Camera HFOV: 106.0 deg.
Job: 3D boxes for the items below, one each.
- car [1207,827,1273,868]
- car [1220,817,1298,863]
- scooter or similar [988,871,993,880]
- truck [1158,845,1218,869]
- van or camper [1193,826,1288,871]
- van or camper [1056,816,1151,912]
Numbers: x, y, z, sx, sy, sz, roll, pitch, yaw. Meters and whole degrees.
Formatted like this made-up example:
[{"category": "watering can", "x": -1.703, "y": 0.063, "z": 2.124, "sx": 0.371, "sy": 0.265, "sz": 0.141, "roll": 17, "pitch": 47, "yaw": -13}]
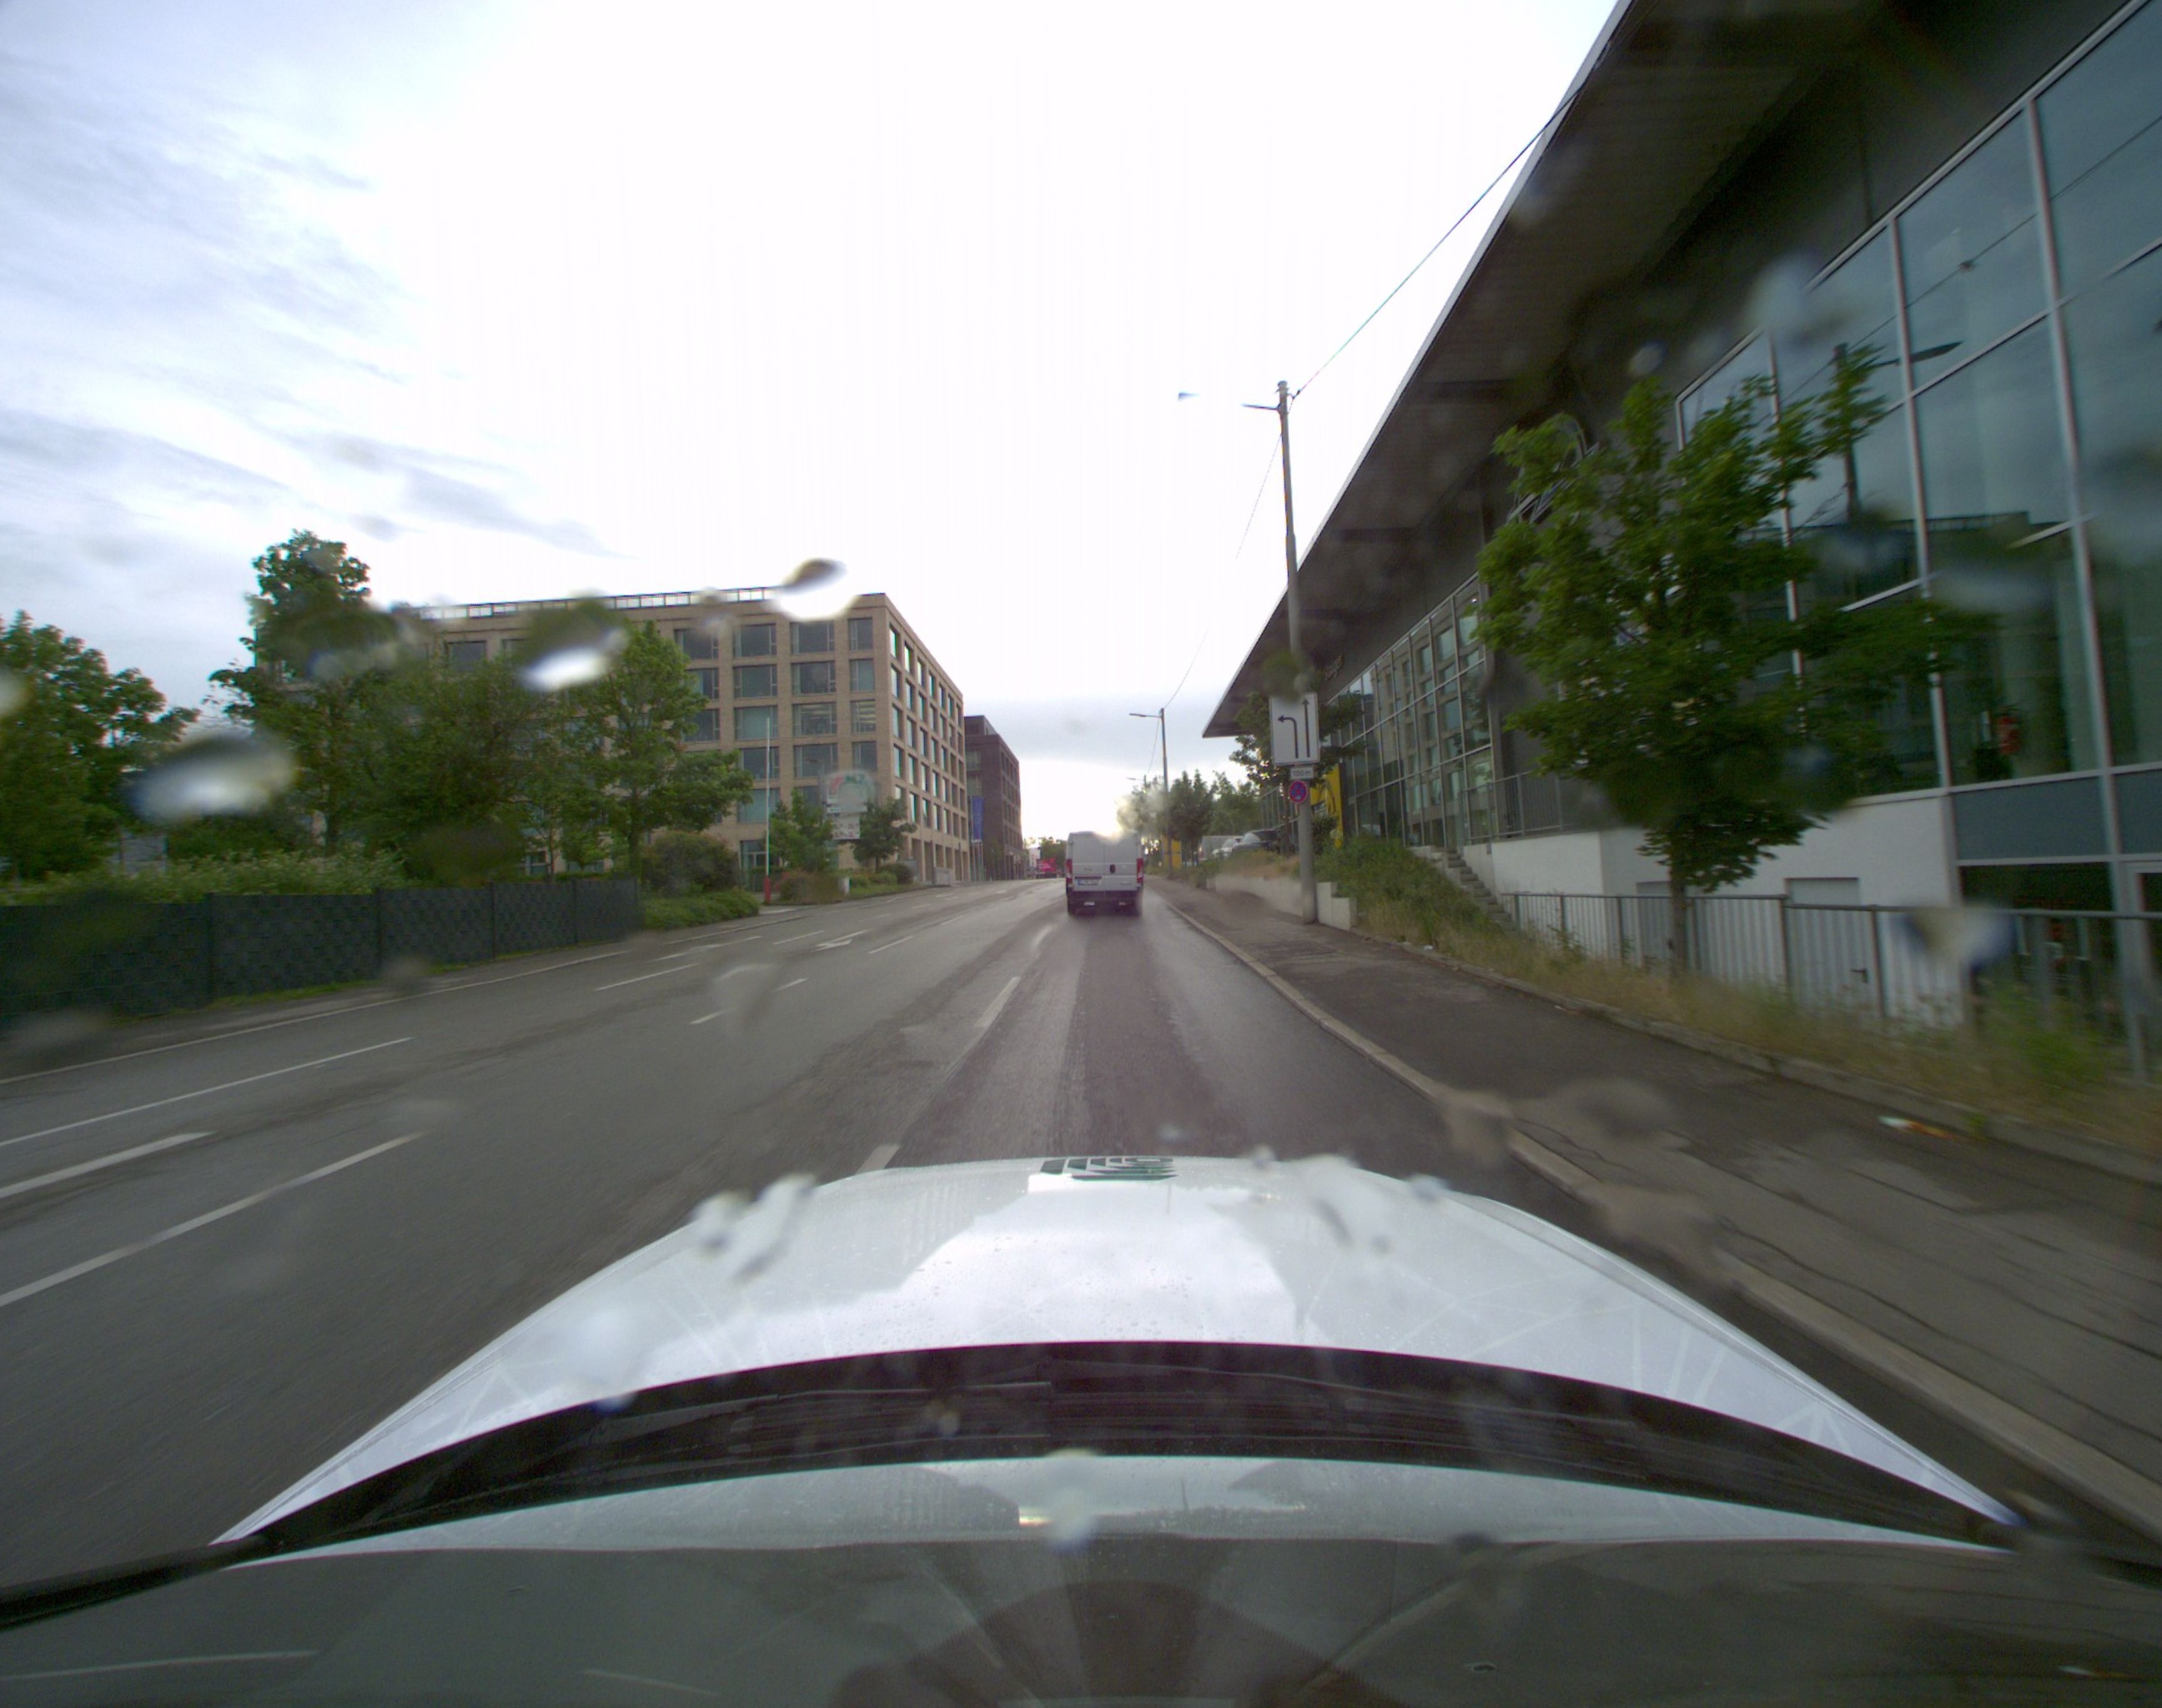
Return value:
[{"category": "car", "x": 7.756, "y": -0.287, "z": 39.385, "sx": 1.975, "sy": 1.711, "sz": 4.604, "roll": -5, "pitch": -2, "yaw": 25}, {"category": "car", "x": 7.634, "y": -0.560, "z": 34.598, "sx": 1.974, "sy": 1.711, "sz": 4.455, "roll": -5, "pitch": -2, "yaw": 28}, {"category": "scooter or similar", "x": -11.481, "y": 2.745, "z": 103.382, "sx": 0.349, "sy": 1.072, "sz": 1.429, "roll": -2, "pitch": -3, "yaw": 3}, {"category": "truck", "x": 9.681, "y": 0.280, "z": 74.232, "sx": 5.132, "sy": 2.014, "sz": 2.345, "roll": -2, "pitch": -1, "yaw": -1}, {"category": "van or camper", "x": 10.376, "y": -0.362, "z": 53.343, "sx": 5.715, "sy": 2.724, "sz": 2.353, "roll": -2, "pitch": -1, "yaw": 1}, {"category": "van or camper", "x": 0.699, "y": 0.279, "z": 23.237, "sx": 2.330, "sy": 2.357, "sz": 5.203, "roll": -2, "pitch": -1, "yaw": 3}]
